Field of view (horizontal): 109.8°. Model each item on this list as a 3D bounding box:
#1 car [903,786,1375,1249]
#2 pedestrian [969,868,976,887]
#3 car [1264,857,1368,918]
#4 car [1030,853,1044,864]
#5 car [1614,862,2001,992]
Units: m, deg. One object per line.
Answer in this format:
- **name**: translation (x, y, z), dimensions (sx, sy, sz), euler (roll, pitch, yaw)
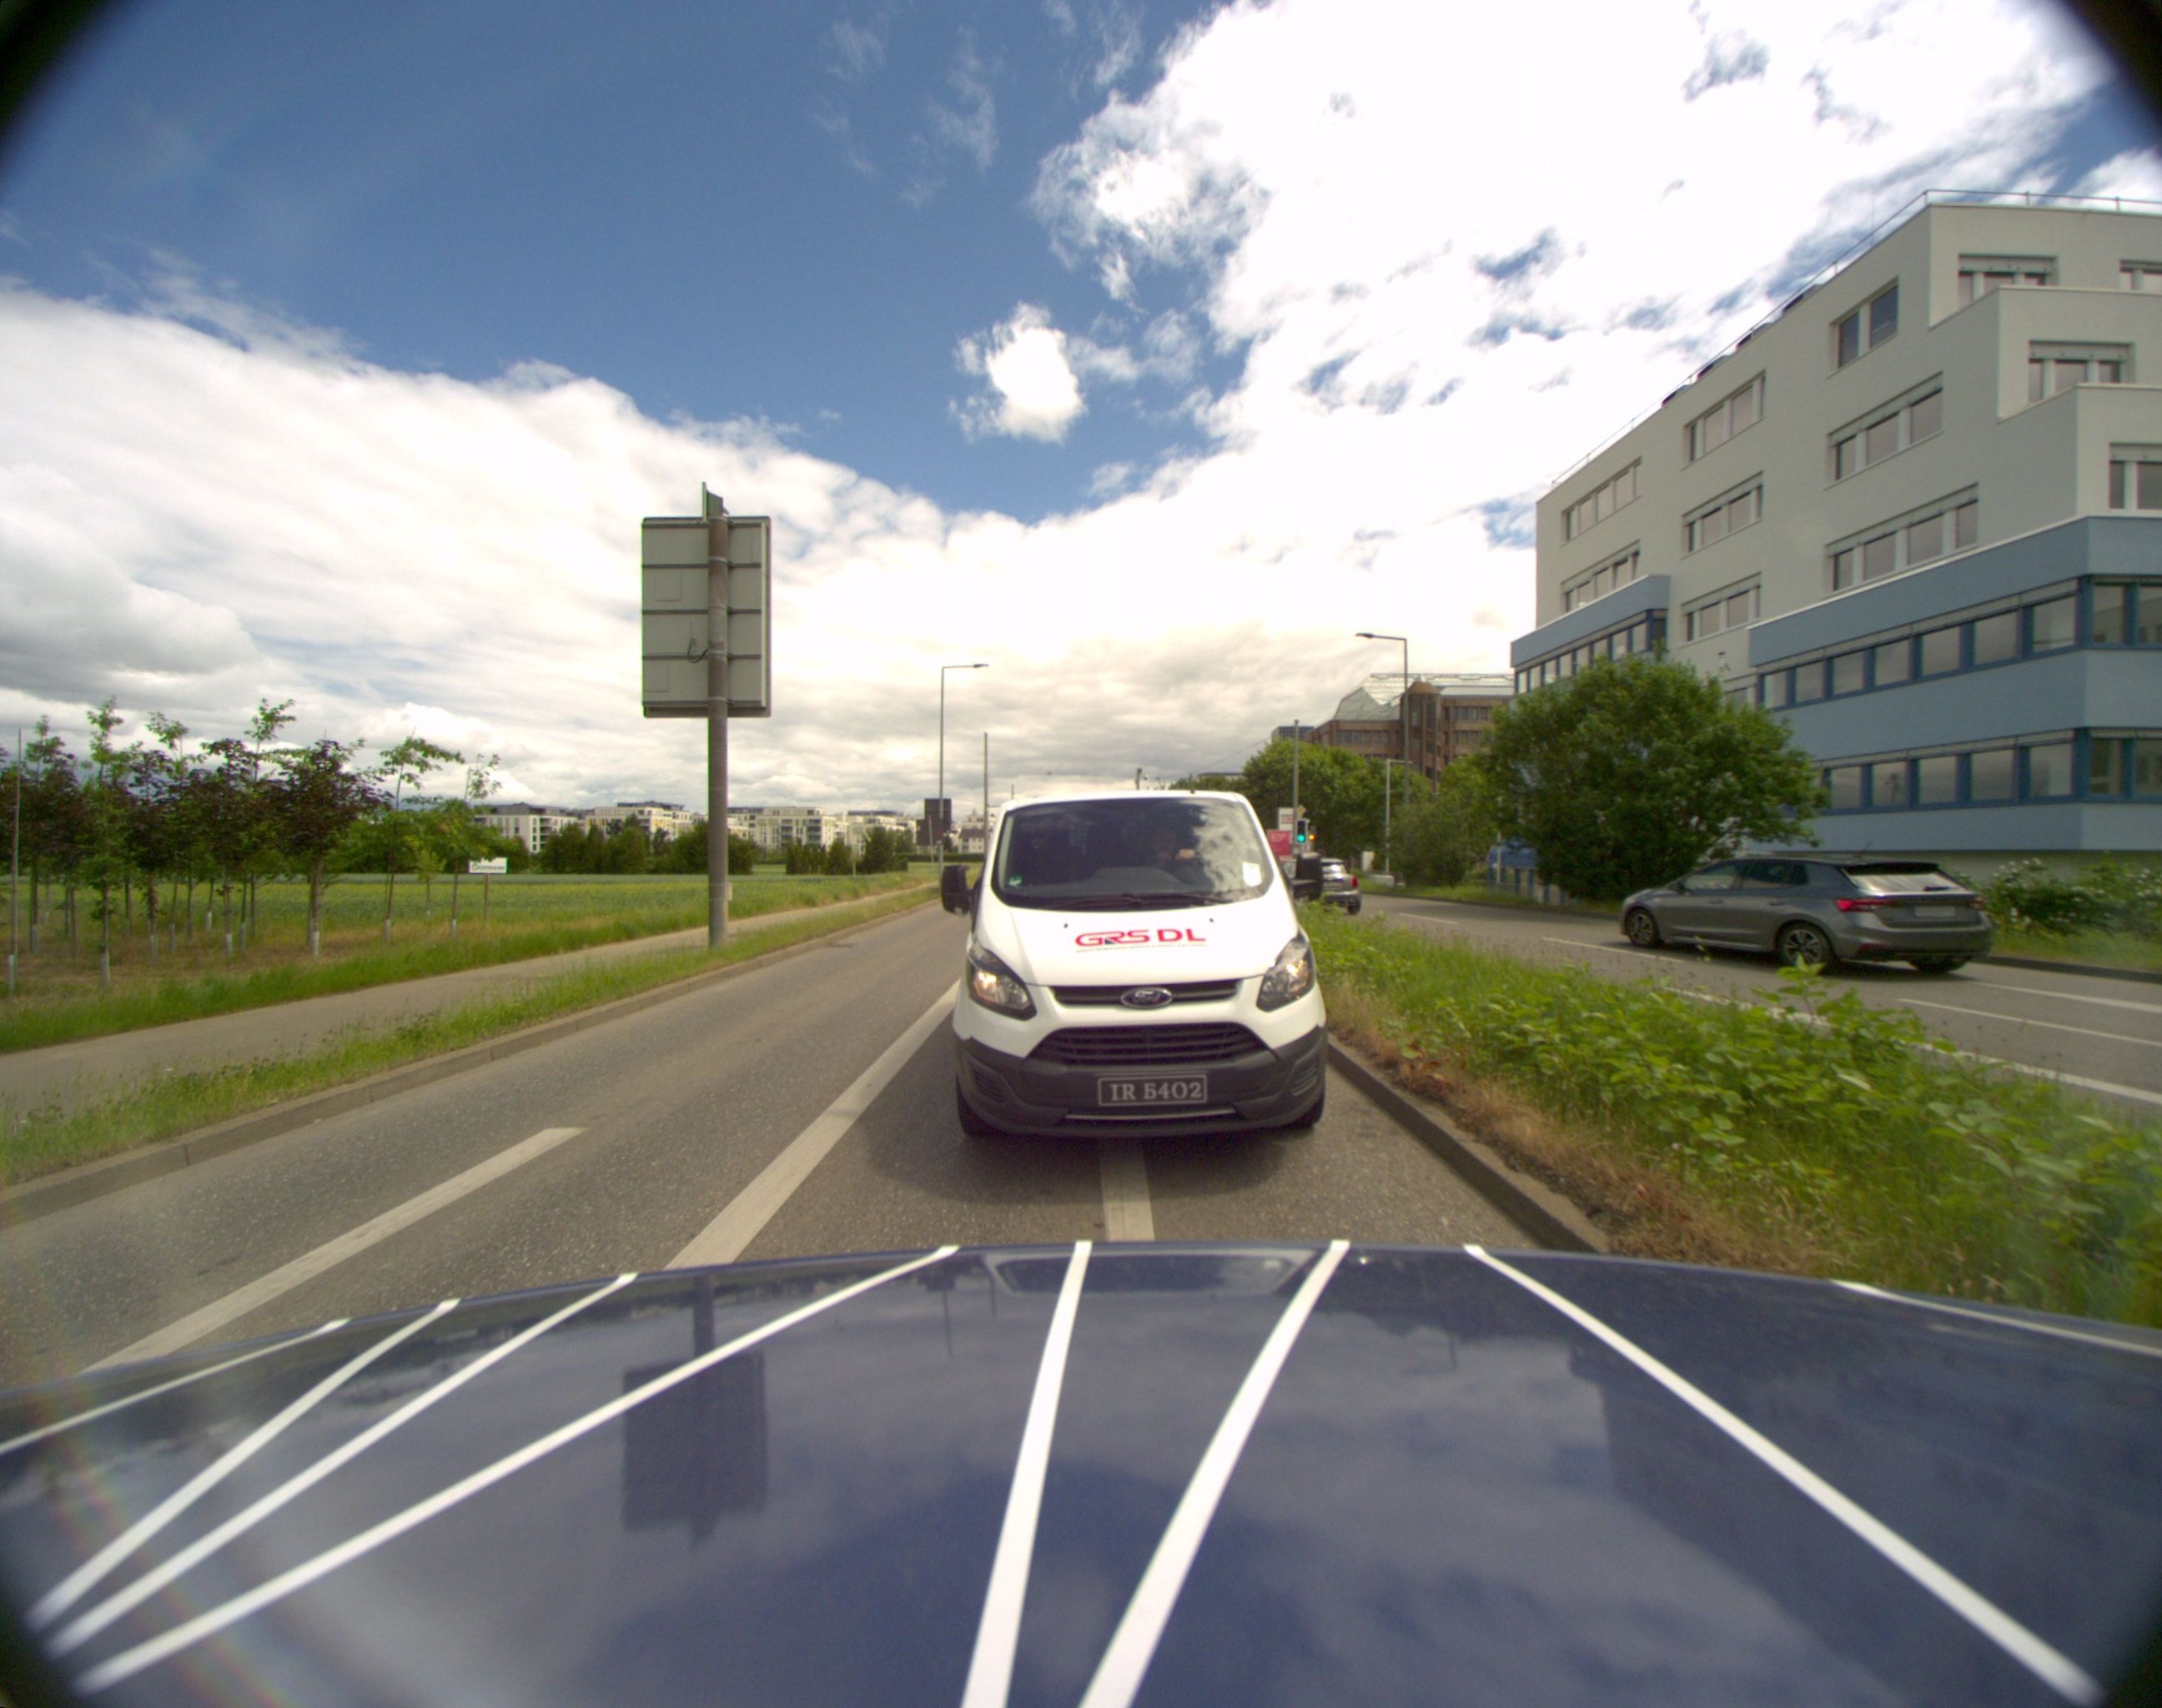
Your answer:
- **car**: translation (0.283, 0.703, 5.781), dimensions (1.968, 1.938, 5.055), euler (-2, 0, 1)
- **pedestrian**: translation (-9.905, 2.142, 69.321), dimensions (0.492, 1.693, 0.626), euler (-2, 1, -1)
- **car**: translation (6.139, 0.824, 20.283), dimensions (1.693, 1.422, 3.635), euler (-1, 0, 1)
- **car**: translation (-5.826, 0.563, 101.958), dimensions (1.683, 1.410, 3.739), euler (-1, 1, -1)
- **car**: translation (9.327, 0.822, 10.255), dimensions (1.558, 1.375, 3.779), euler (-1, 0, -1)
